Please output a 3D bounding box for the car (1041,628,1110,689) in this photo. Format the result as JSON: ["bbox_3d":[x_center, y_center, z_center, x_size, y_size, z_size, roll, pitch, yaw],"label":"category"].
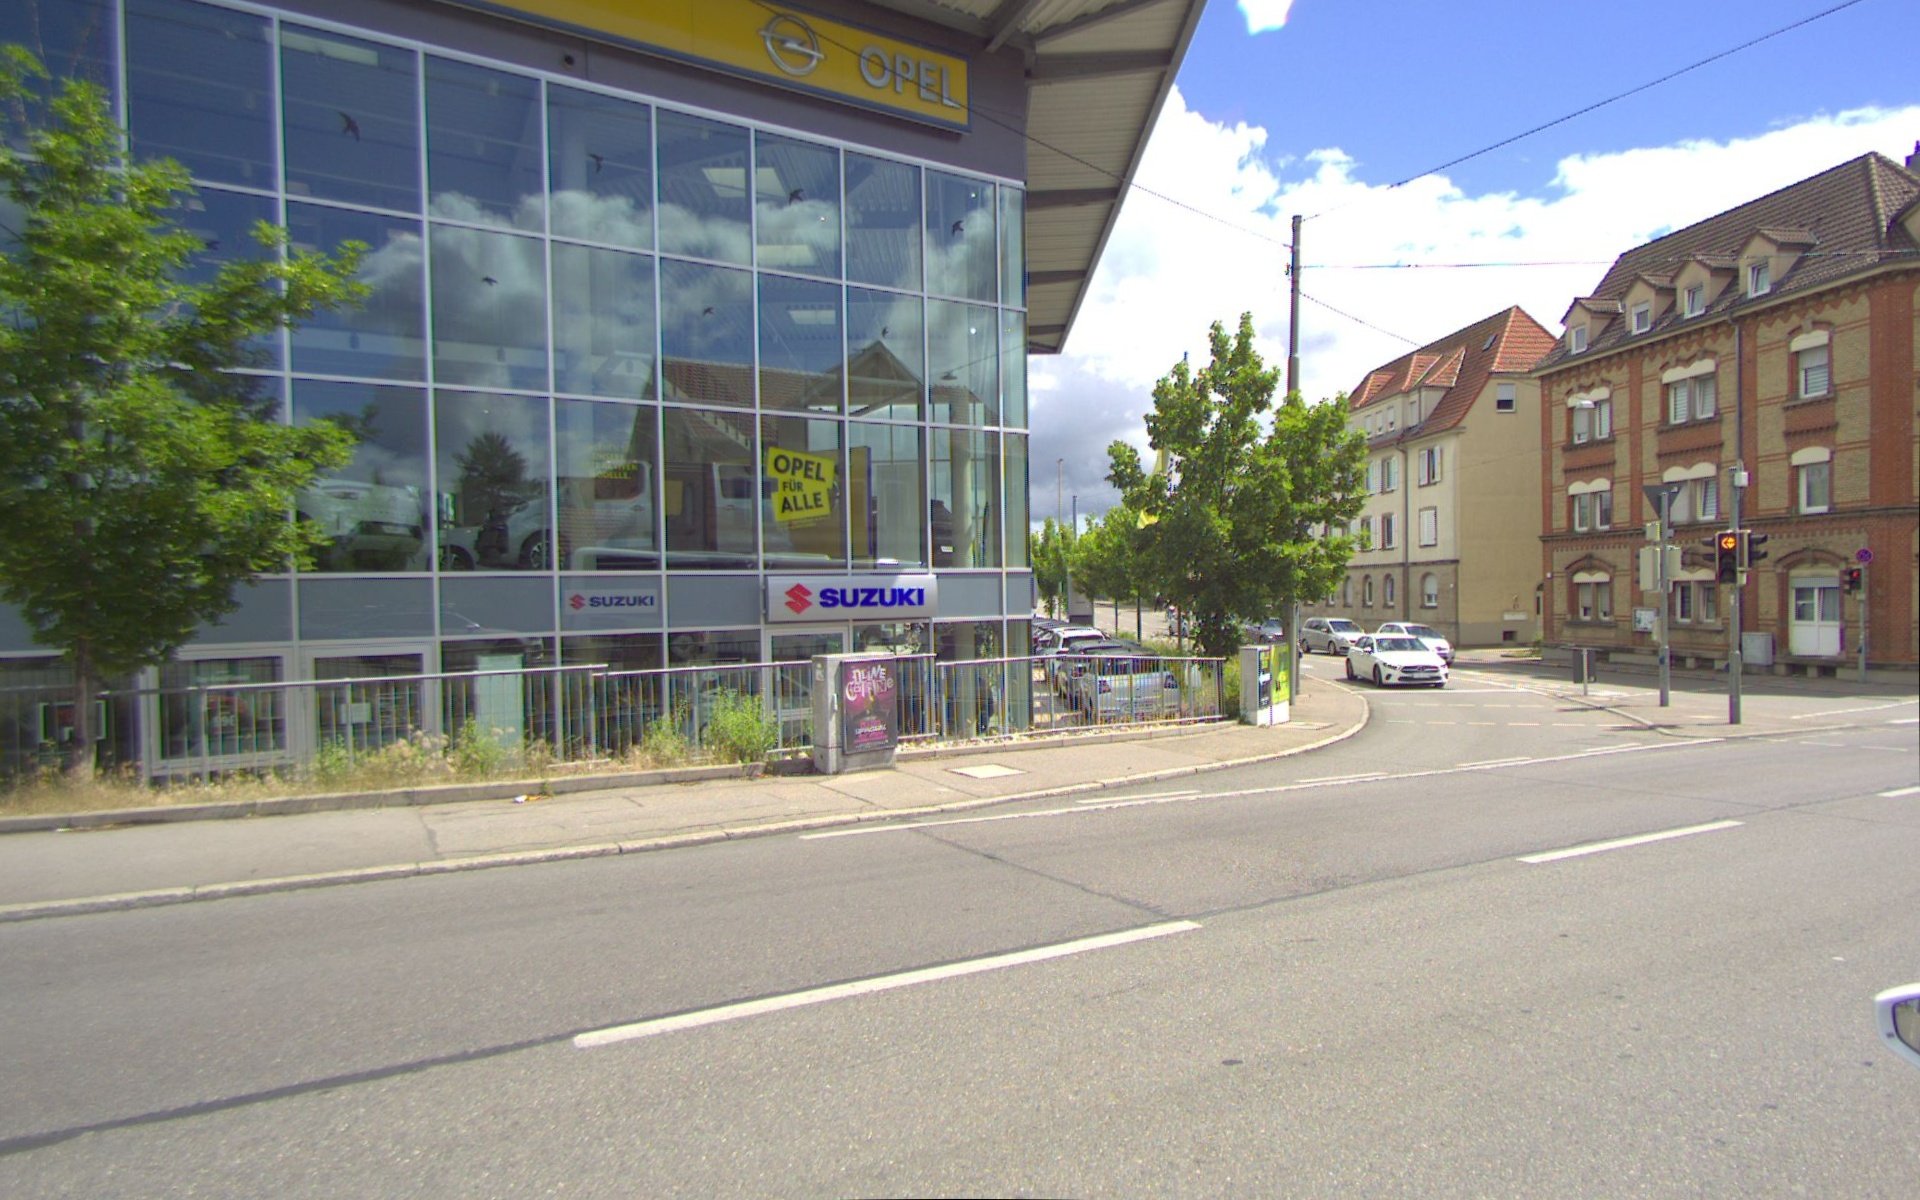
[{"bbox_3d":[3.279,1.637,29.087,1.487,1.596,3.414,1,-1,-2],"label":"car"}]

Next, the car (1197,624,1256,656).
[{"bbox_3d":[14.830,2.198,56.179,1.961,1.607,4.345,1,0,-2],"label":"car"}]

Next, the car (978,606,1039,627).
[{"bbox_3d":[3.215,1.121,66.965,3.921,1.311,1.818,1,-1,0],"label":"car"}]

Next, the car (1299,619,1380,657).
[{"bbox_3d":[16.735,1.644,44.506,1.715,1.539,3.996,1,-1,-7],"label":"car"}]

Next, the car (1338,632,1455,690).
[{"bbox_3d":[12.368,1.687,28.767,1.825,1.466,4.394,1,-1,6],"label":"car"}]

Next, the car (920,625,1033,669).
[{"bbox_3d":[0.622,1.709,37.238,3.919,1.478,1.605,1,-1,15],"label":"car"}]

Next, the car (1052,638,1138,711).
[{"bbox_3d":[3.230,1.758,24.693,1.487,1.543,3.792,1,-1,-2],"label":"car"}]

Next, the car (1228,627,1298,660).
[{"bbox_3d":[15.333,2.187,51.013,1.963,1.539,3.996,1,-1,-7],"label":"car"}]

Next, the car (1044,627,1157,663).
[{"bbox_3d":[5.165,1.636,37.203,3.921,1.202,1.818,1,-1,0],"label":"car"}]

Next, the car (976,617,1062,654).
[{"bbox_3d":[2.647,1.588,45.861,1.974,1.599,4.476,1,-1,-26],"label":"car"}]

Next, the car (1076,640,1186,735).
[{"bbox_3d":[3.394,1.692,20.544,1.720,1.596,3.687,2,-1,2],"label":"car"}]

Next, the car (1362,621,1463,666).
[{"bbox_3d":[17.062,1.610,38.081,1.670,1.517,3.995,1,-1,-7],"label":"car"}]
